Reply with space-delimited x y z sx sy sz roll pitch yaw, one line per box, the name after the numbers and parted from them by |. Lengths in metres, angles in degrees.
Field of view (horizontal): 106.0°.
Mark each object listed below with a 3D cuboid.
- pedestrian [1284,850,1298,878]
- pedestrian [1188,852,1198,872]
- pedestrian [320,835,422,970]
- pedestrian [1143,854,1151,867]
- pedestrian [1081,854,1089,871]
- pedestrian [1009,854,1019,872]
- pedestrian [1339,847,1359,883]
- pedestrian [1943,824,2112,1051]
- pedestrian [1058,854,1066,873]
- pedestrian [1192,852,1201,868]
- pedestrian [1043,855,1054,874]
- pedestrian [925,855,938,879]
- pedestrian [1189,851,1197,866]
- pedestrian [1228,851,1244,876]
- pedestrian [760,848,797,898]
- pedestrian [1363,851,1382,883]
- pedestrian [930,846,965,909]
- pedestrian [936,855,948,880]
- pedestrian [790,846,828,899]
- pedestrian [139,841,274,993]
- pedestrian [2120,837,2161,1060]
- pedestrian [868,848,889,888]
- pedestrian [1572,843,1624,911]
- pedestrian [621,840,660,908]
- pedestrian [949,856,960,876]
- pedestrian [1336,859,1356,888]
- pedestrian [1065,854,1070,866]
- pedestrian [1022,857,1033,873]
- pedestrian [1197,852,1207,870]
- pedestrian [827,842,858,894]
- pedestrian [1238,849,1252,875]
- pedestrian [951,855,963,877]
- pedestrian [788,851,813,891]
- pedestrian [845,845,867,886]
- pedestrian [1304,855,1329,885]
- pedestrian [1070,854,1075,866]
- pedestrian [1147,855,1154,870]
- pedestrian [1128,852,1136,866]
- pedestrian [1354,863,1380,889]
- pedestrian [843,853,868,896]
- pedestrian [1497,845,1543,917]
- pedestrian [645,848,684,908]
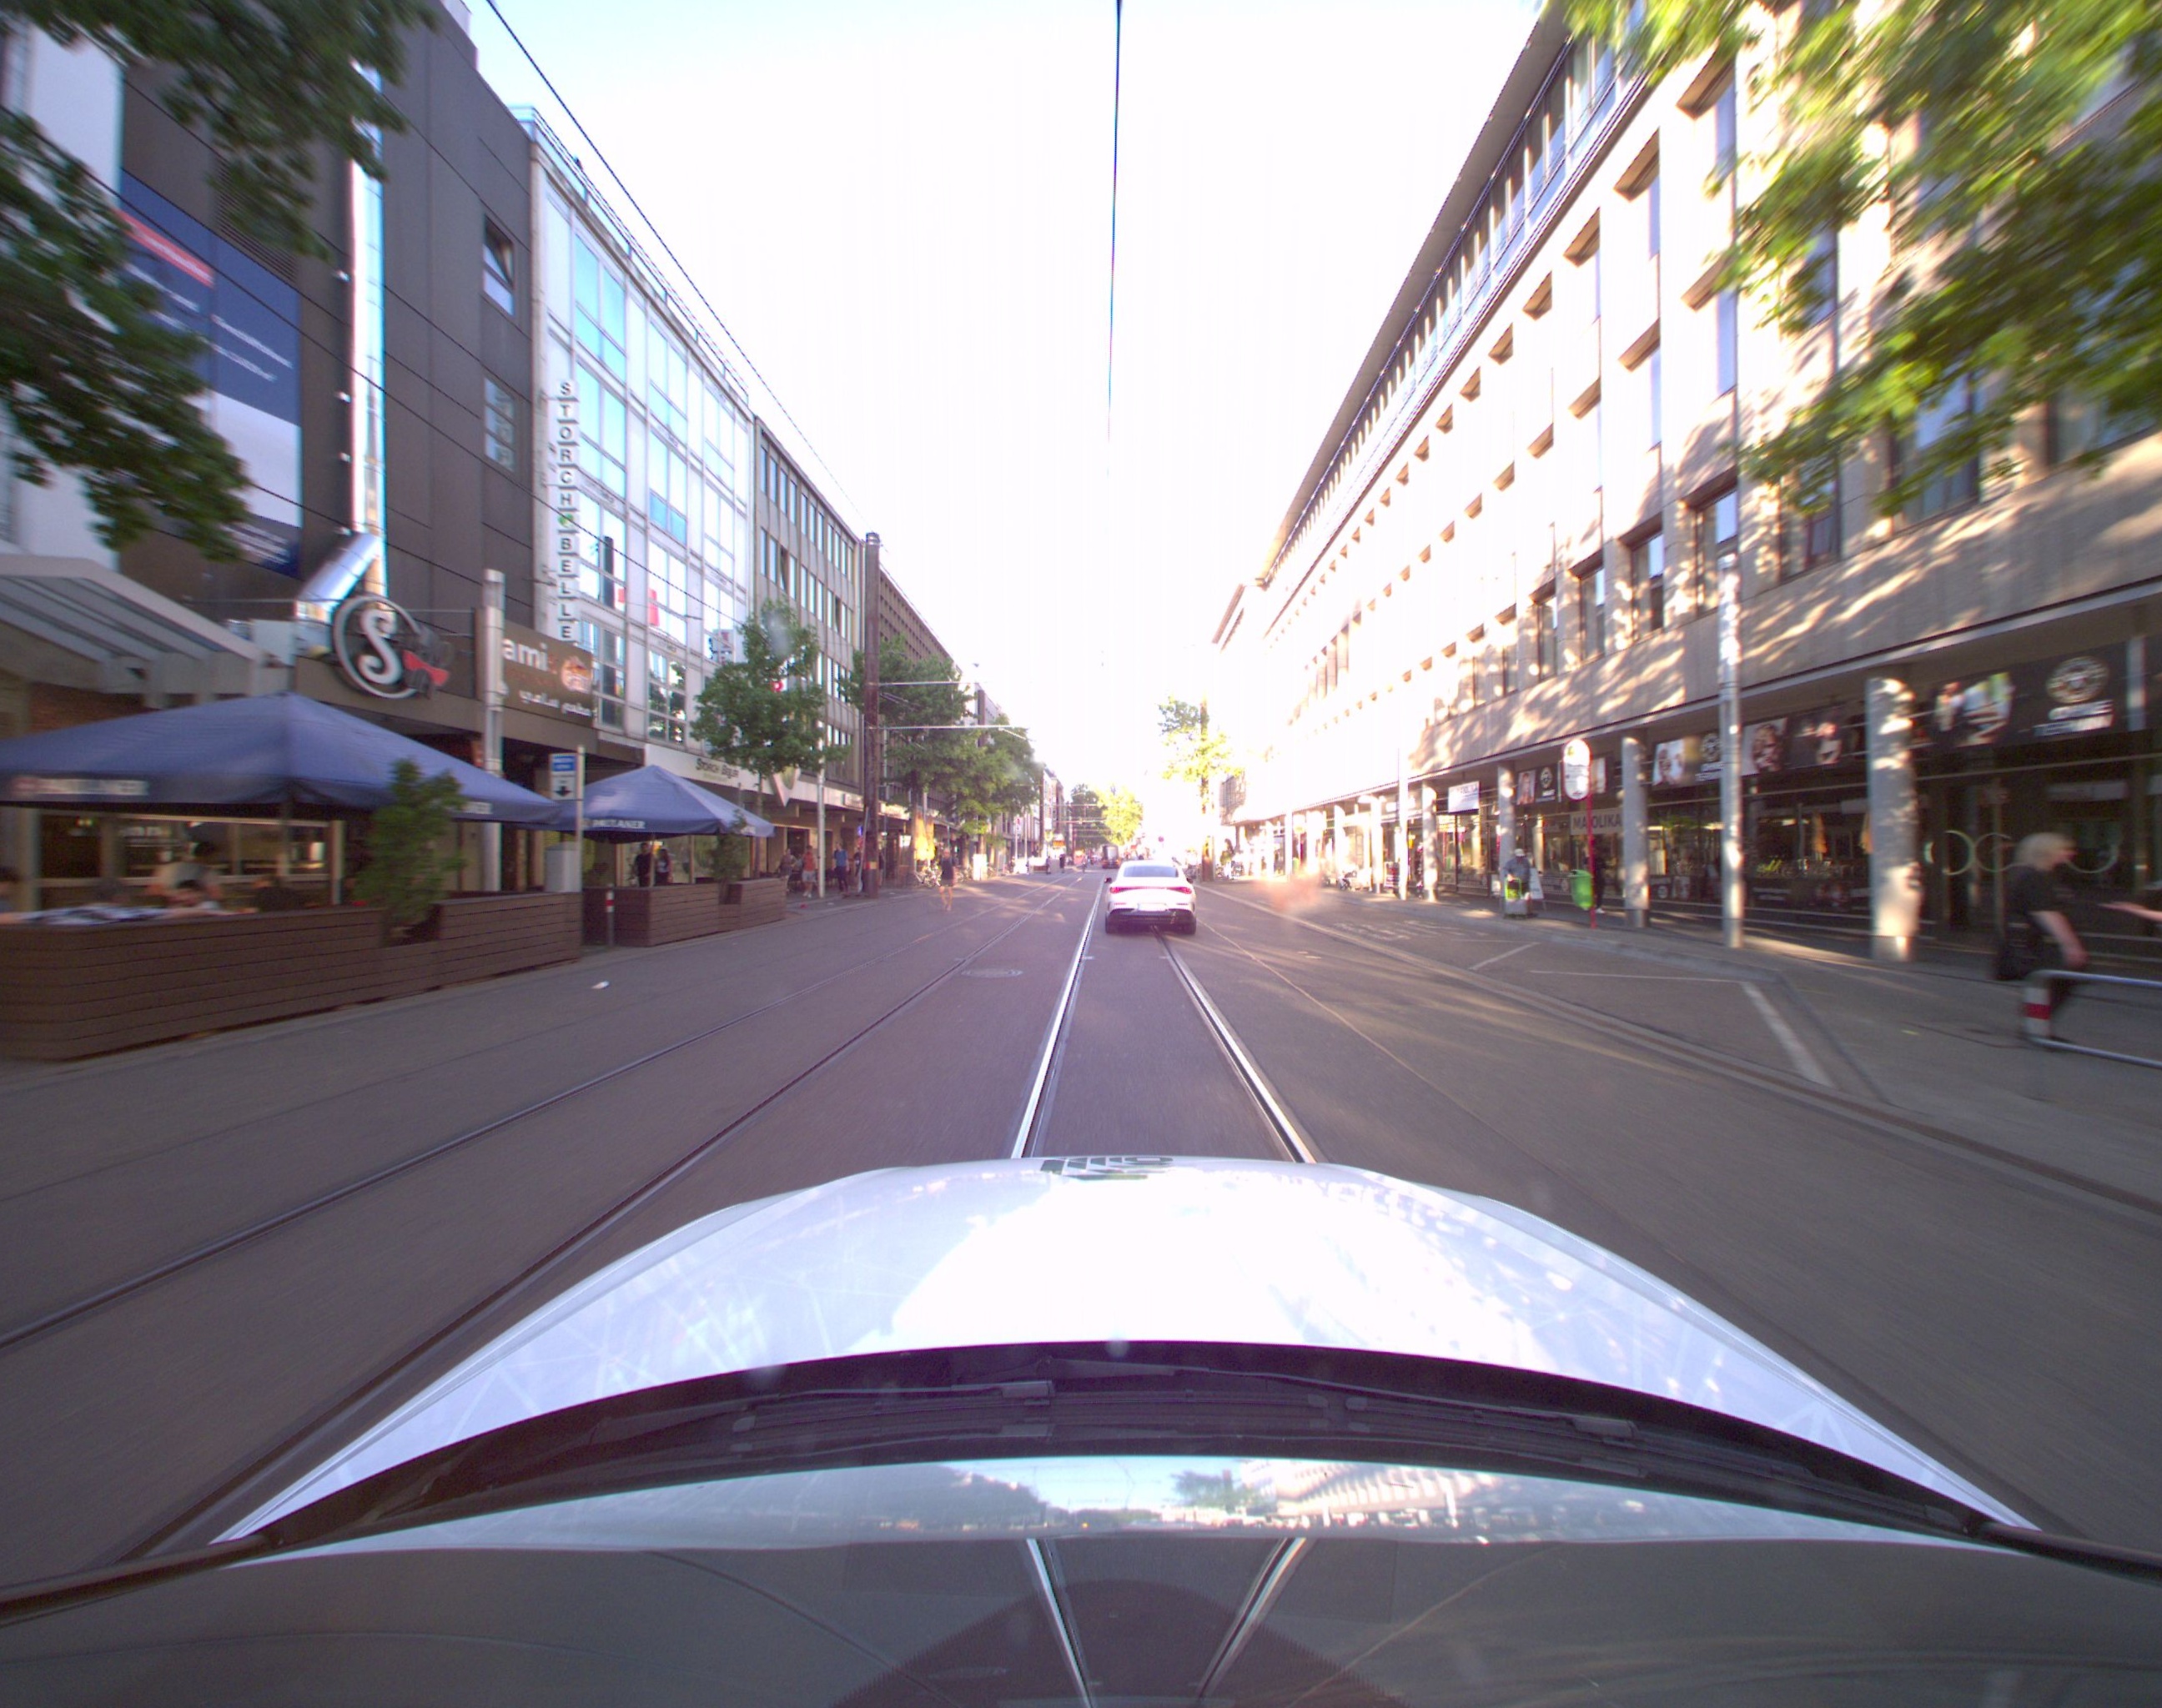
12.230 0.579 47.453 0.634 1.653 0.781 0 0 3 | pedestrian
10.250 0.699 74.761 0.746 1.785 0.767 -2 0 1 | pedestrian
-9.370 0.626 10.771 0.715 1.724 0.675 1 0 1 | pedestrian
9.264 0.952 114.469 0.957 1.785 0.804 -2 0 1 | pedestrian
0.460 0.869 84.492 0.797 1.782 0.849 1 0 1 | pedestrian
-6.525 0.845 79.323 0.835 1.717 0.785 -1 0 0 | pedestrian
13.259 0.527 40.287 0.713 1.741 0.836 0 0 2 | pedestrian
7.526 0.620 6.517 0.672 1.685 0.700 -3 0 35 | pedestrian
-1.931 0.941 81.802 0.576 1.929 0.534 0 -1 -44 | pedestrian
12.115 0.647 85.241 0.834 1.662 0.786 -1 0 4 | pedestrian
-3.023 0.977 75.590 0.901 1.698 0.849 -1 0 2 | pedestrian
-9.945 0.842 54.125 0.713 1.547 0.684 -1 0 -4 | pedestrian
12.946 0.564 94.368 0.815 1.685 0.804 -2 0 1 | pedestrian
11.234 0.681 59.144 0.896 1.744 0.690 -4 -1 1 | pedestrian
-10.104 0.623 27.232 0.841 1.638 0.766 1 0 22 | pedestrian
13.902 0.620 38.869 0.640 1.542 0.797 0 0 2 | pedestrian
-3.907 0.680 23.892 0.838 1.801 0.791 1 0 3 | pedestrian
-9.252 0.880 54.110 0.713 1.639 0.684 -1 0 -4 | pedestrian
-9.264 0.622 27.756 0.842 1.741 0.839 1 0 22 | pedestrian
-9.588 0.665 8.960 0.671 1.607 0.720 1 0 1 | pedestrian
8.007 0.658 5.811 0.693 1.552 0.600 -2 -1 -45 | pedestrian
-9.095 0.608 36.650 0.620 1.747 0.934 2 0 2 | pedestrian
12.429 0.540 19.604 0.693 1.589 0.926 0 0 2 | pedestrian
-11.451 0.508 21.191 0.595 1.745 0.672 1 0 2 | pedestrian
-10.846 1.017 69.658 0.813 1.762 0.780 -1 0 0 | pedestrian
11.205 0.825 34.464 0.663 1.198 0.786 0 0 7 | pedestrian
-1.993 0.873 117.631 0.658 1.599 0.573 -1 0 1 | pedestrian
-4.941 1.032 75.468 0.952 1.496 0.945 -1 0 2 | pedestrian
12.253 0.670 82.343 0.837 1.785 0.804 -2 0 1 | pedestrian
-8.983 0.517 30.672 0.798 1.923 1.071 2 0 -1 | pedestrian
11.827 0.597 58.836 0.698 1.812 1.033 -4 0 1 | pedestrian
-10.225 0.975 67.033 0.728 1.762 0.810 0 -1 -33 | pedestrian
-10.963 0.639 31.859 0.620 1.526 0.810 2 0 2 | pedestrian
-10.157 0.531 36.751 0.620 1.804 0.934 2 0 2 | pedestrian
10.929 0.737 37.820 0.836 1.377 0.772 0 0 -21 | pedestrian
-1.194 0.870 117.690 0.658 1.599 0.573 -1 0 1 | pedestrian
7.858 0.947 91.791 0.744 1.698 0.840 -1 0 -1 | pedestrian
6.697 0.711 106.296 0.957 1.785 0.804 -2 0 1 | pedestrian
11.557 0.893 32.923 0.832 1.031 0.697 0 0 6 | pedestrian
-8.205 0.741 29.658 0.620 1.509 0.834 2 0 2 | pedestrian
9.777 0.593 18.166 0.679 1.572 0.632 1 0 2 | pedestrian
-10.845 0.609 21.224 0.595 1.533 0.672 1 0 2 | pedestrian
